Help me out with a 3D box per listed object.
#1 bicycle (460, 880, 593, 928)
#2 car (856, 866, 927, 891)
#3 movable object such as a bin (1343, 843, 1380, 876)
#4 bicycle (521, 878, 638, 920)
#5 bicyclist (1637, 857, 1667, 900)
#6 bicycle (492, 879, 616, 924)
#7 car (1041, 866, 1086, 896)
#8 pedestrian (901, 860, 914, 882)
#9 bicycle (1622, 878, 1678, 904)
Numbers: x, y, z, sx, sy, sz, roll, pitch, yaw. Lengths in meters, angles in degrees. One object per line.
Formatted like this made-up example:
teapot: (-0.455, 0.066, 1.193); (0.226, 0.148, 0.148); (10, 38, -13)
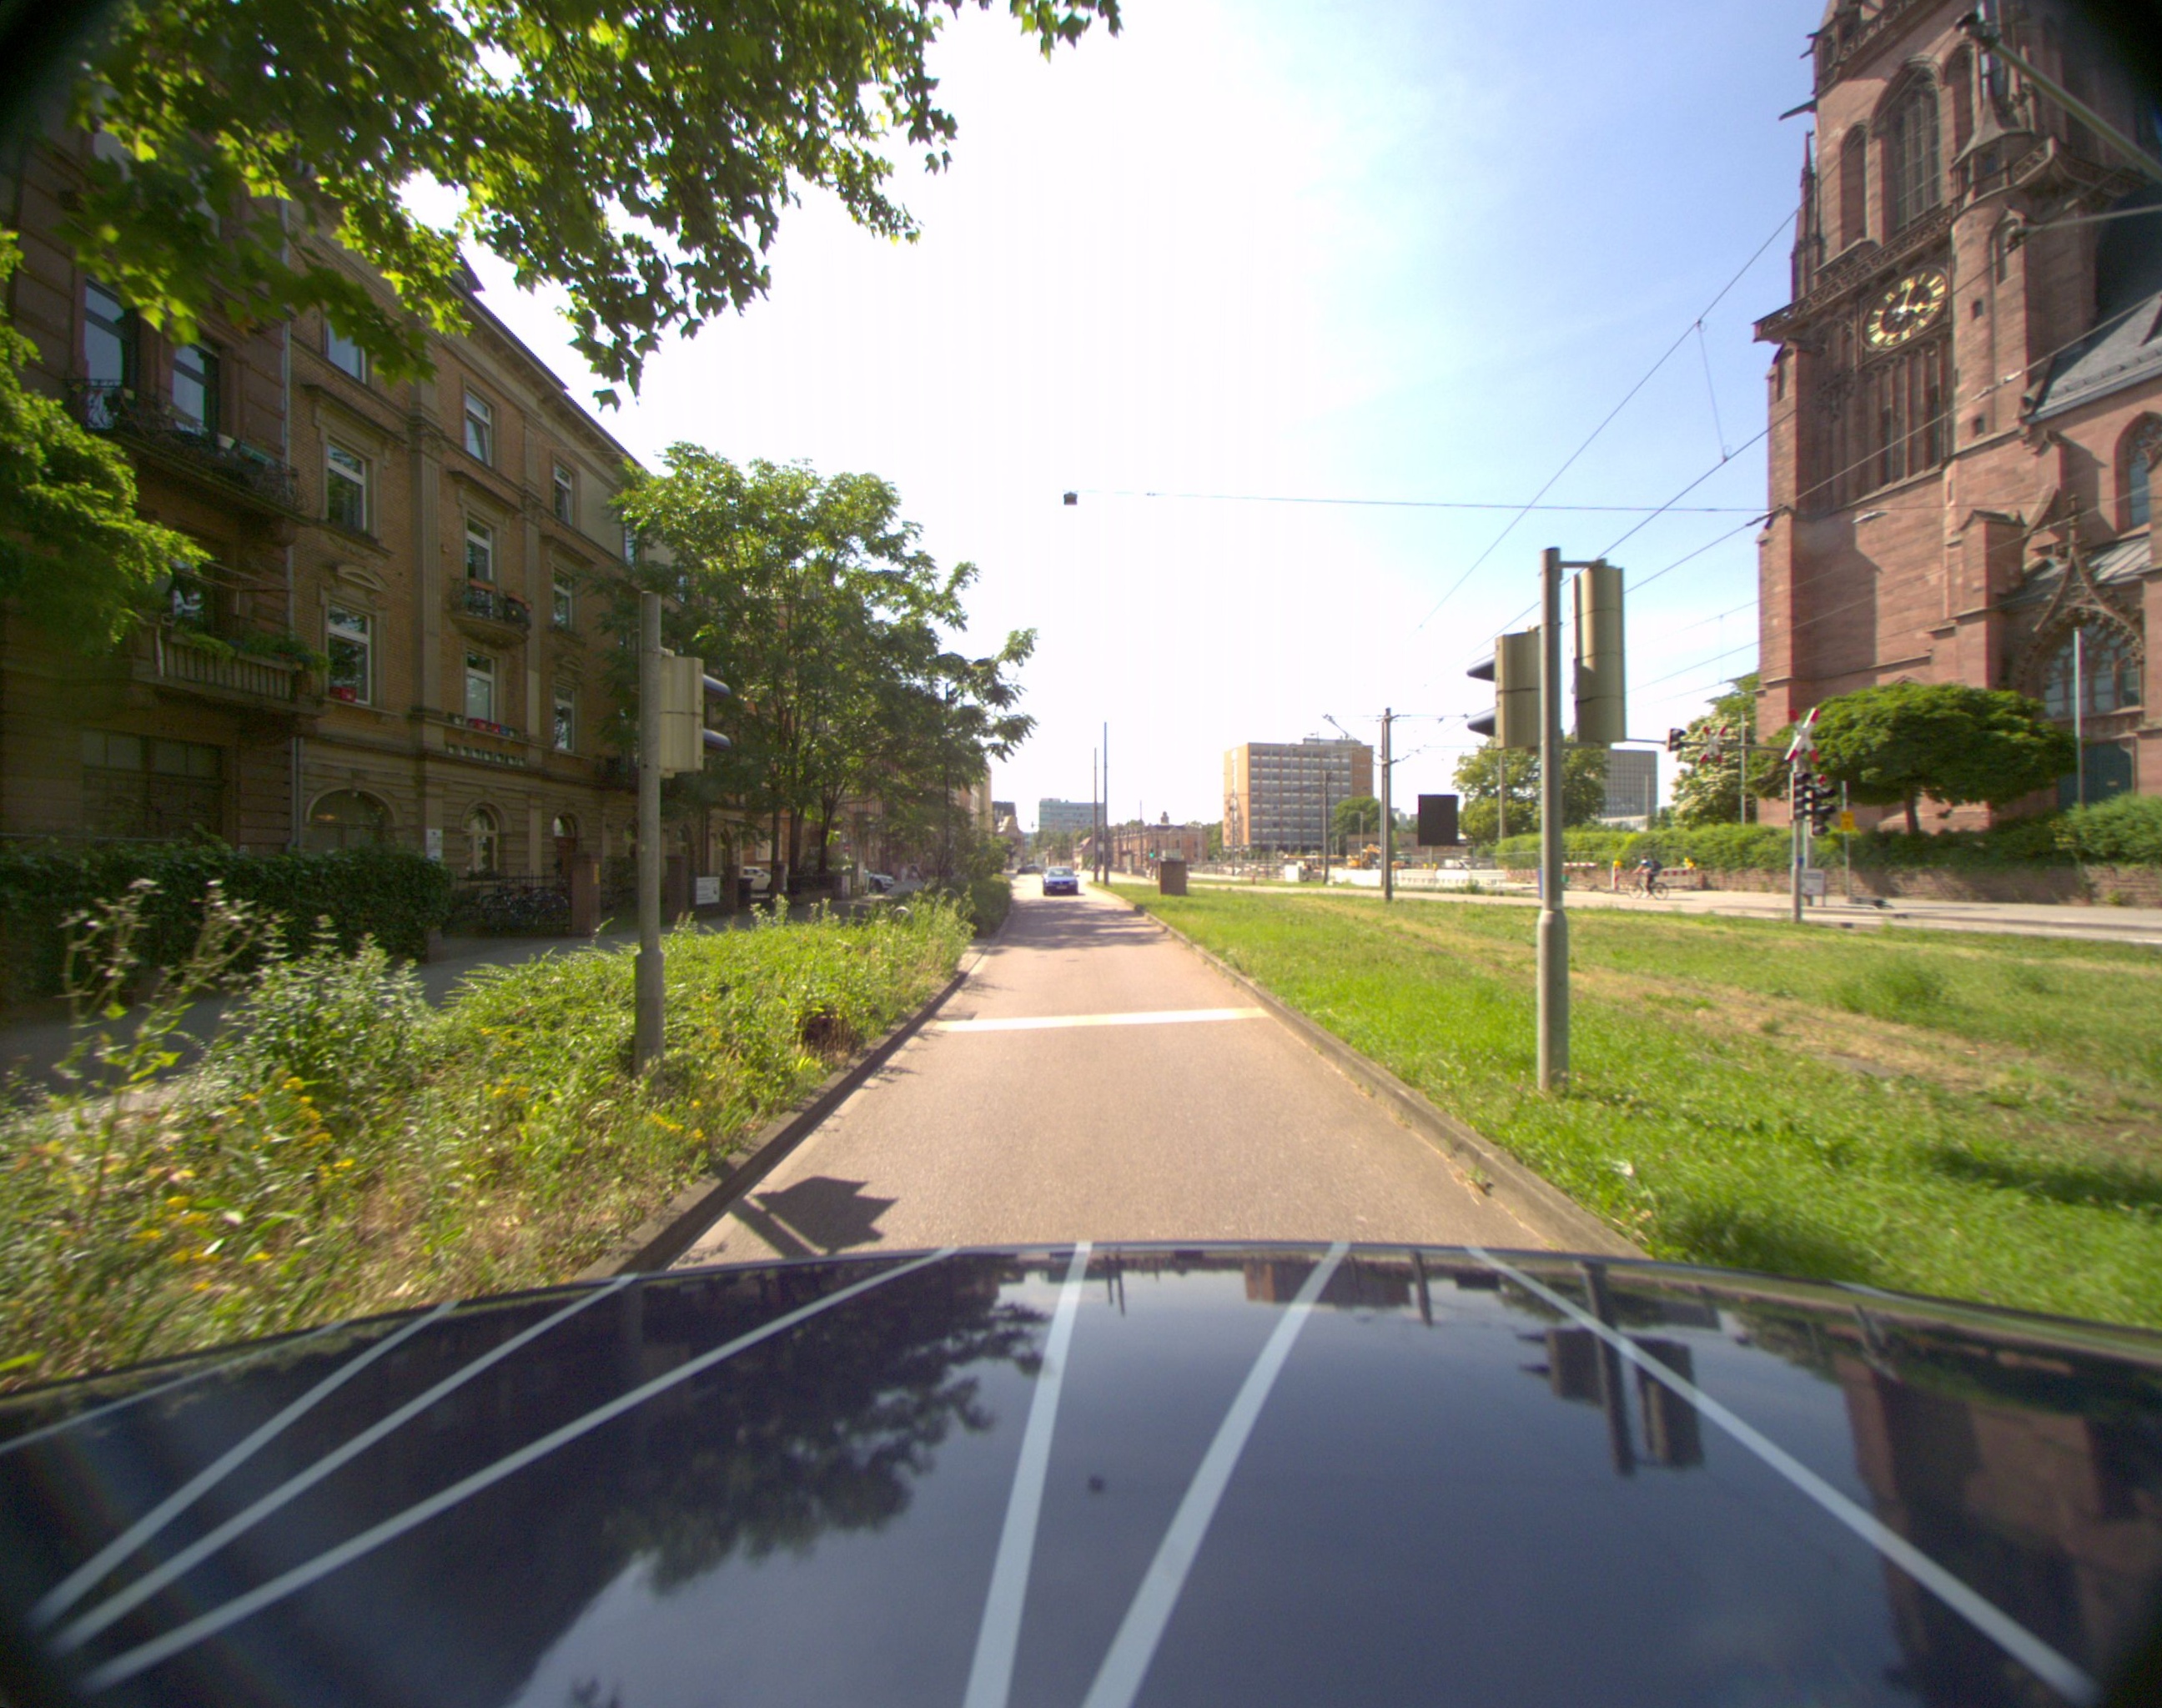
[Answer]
bicycle: (-13.852, 1.227, 19.083); (2.584, 1.104, 0.772); (0, 0, -25)
car: (-11.668, 1.516, 46.963); (4.093, 1.507, 1.886); (0, 0, -10)
movable object such as a bin: (34.152, 0.693, 92.500); (3.341, 3.858, 2.931); (0, 0, -34)
bicycle: (-14.061, 1.247, 21.416); (2.584, 1.104, 1.111); (0, 0, -20)
bicyclist: (24.085, 1.026, 32.053); (0.645, 1.751, 0.794); (0, 0, -10)
bicycle: (-13.918, 1.238, 20.152); (2.584, 1.104, 0.772); (0, 0, -20)
car: (-0.827, 1.323, 38.351); (1.886, 1.401, 4.095); (0, -1, 4)
pedestrian: (-13.793, 1.355, 60.328); (0.797, 1.708, 0.967); (0, 0, -1)
bicycle: (24.058, 1.559, 32.158); (0.657, 1.040, 1.968); (0, 0, -10)
